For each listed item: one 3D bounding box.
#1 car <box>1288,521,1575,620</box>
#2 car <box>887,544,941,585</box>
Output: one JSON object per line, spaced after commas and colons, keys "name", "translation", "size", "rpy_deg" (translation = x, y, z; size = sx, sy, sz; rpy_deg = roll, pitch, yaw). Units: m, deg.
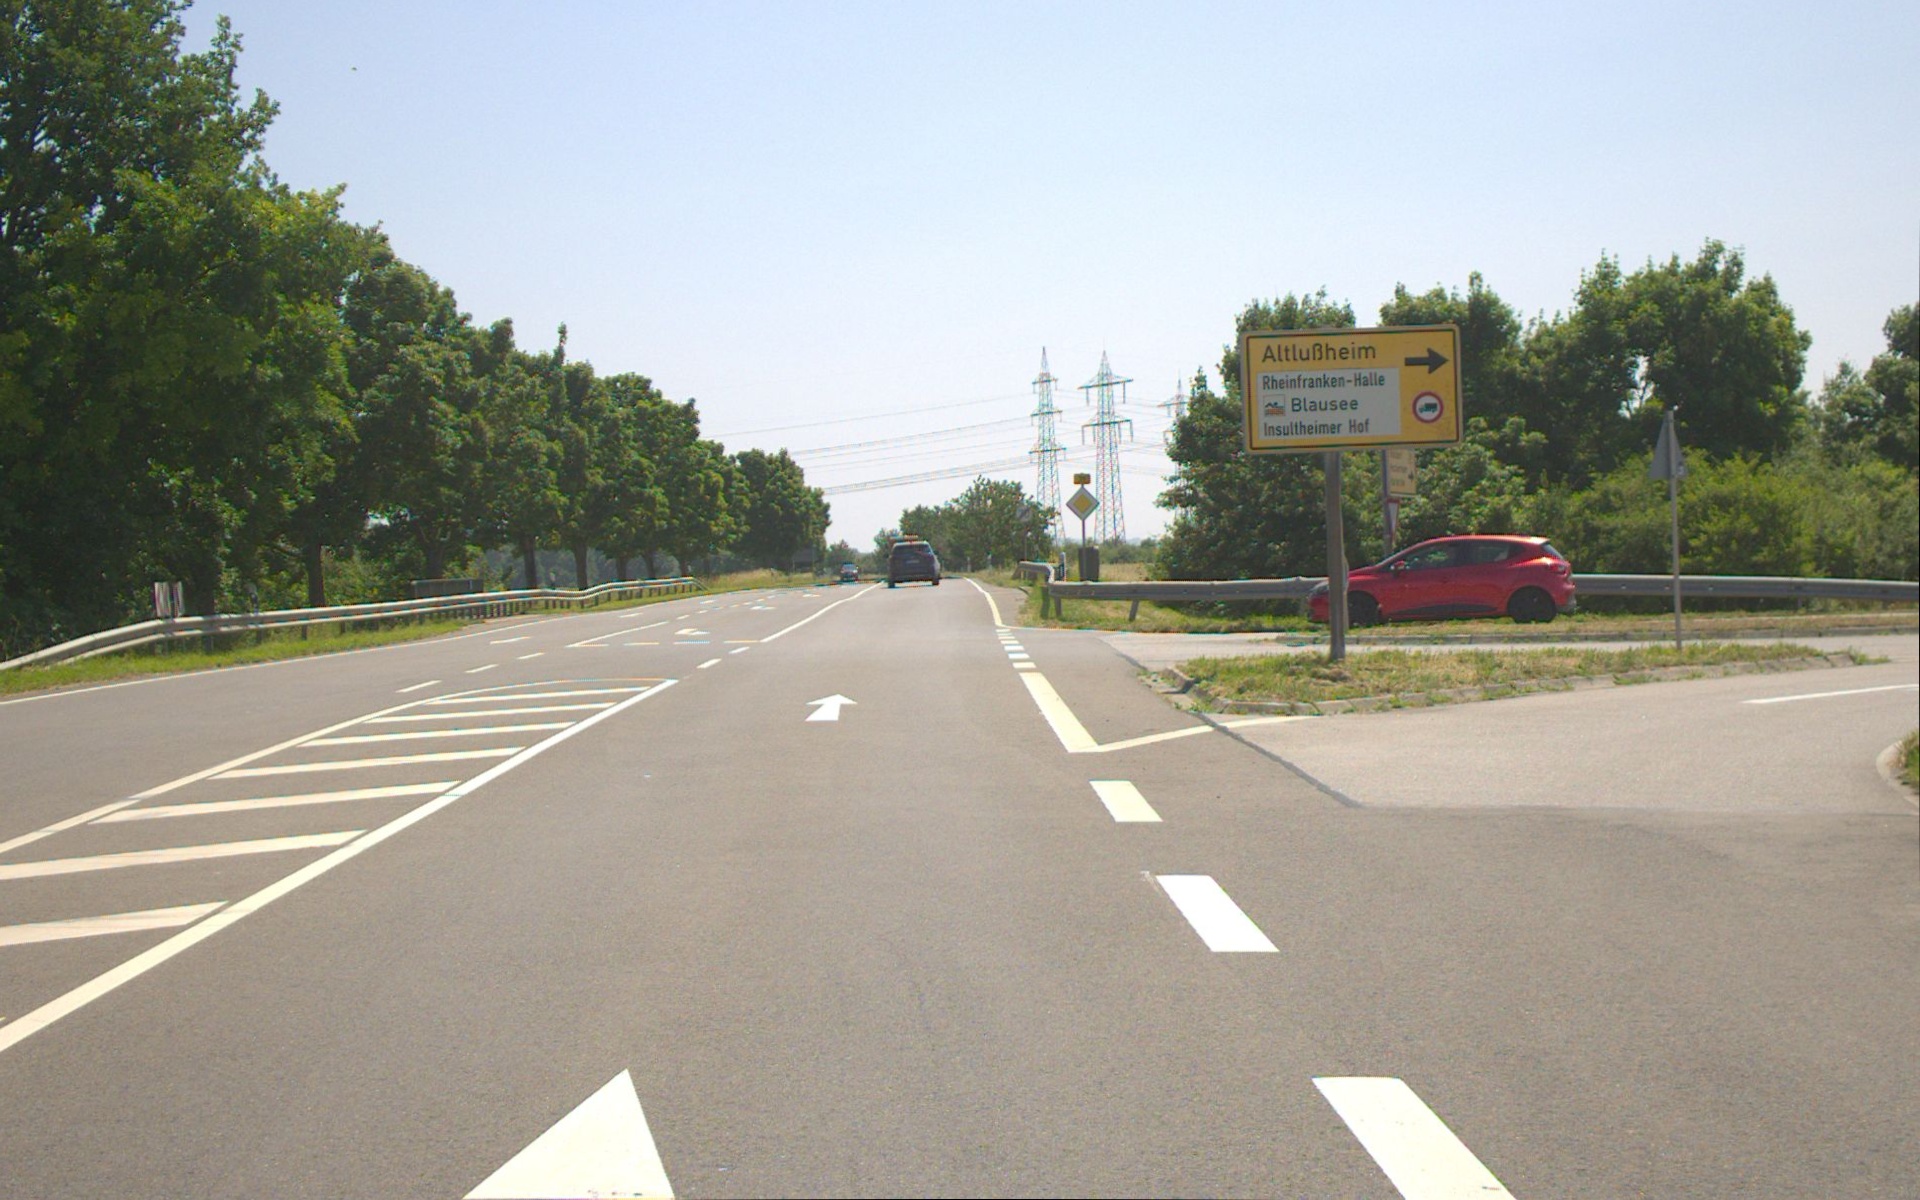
{"name": "car", "translation": [7.181, -0.442, 52.232], "size": [4.155, 1.414, 1.778], "rpy_deg": [-1, 0, 13]}
{"name": "car", "translation": [-1.722, -1.322, 127.889], "size": [1.884, 1.513, 4.040], "rpy_deg": [0, 1, -2]}
